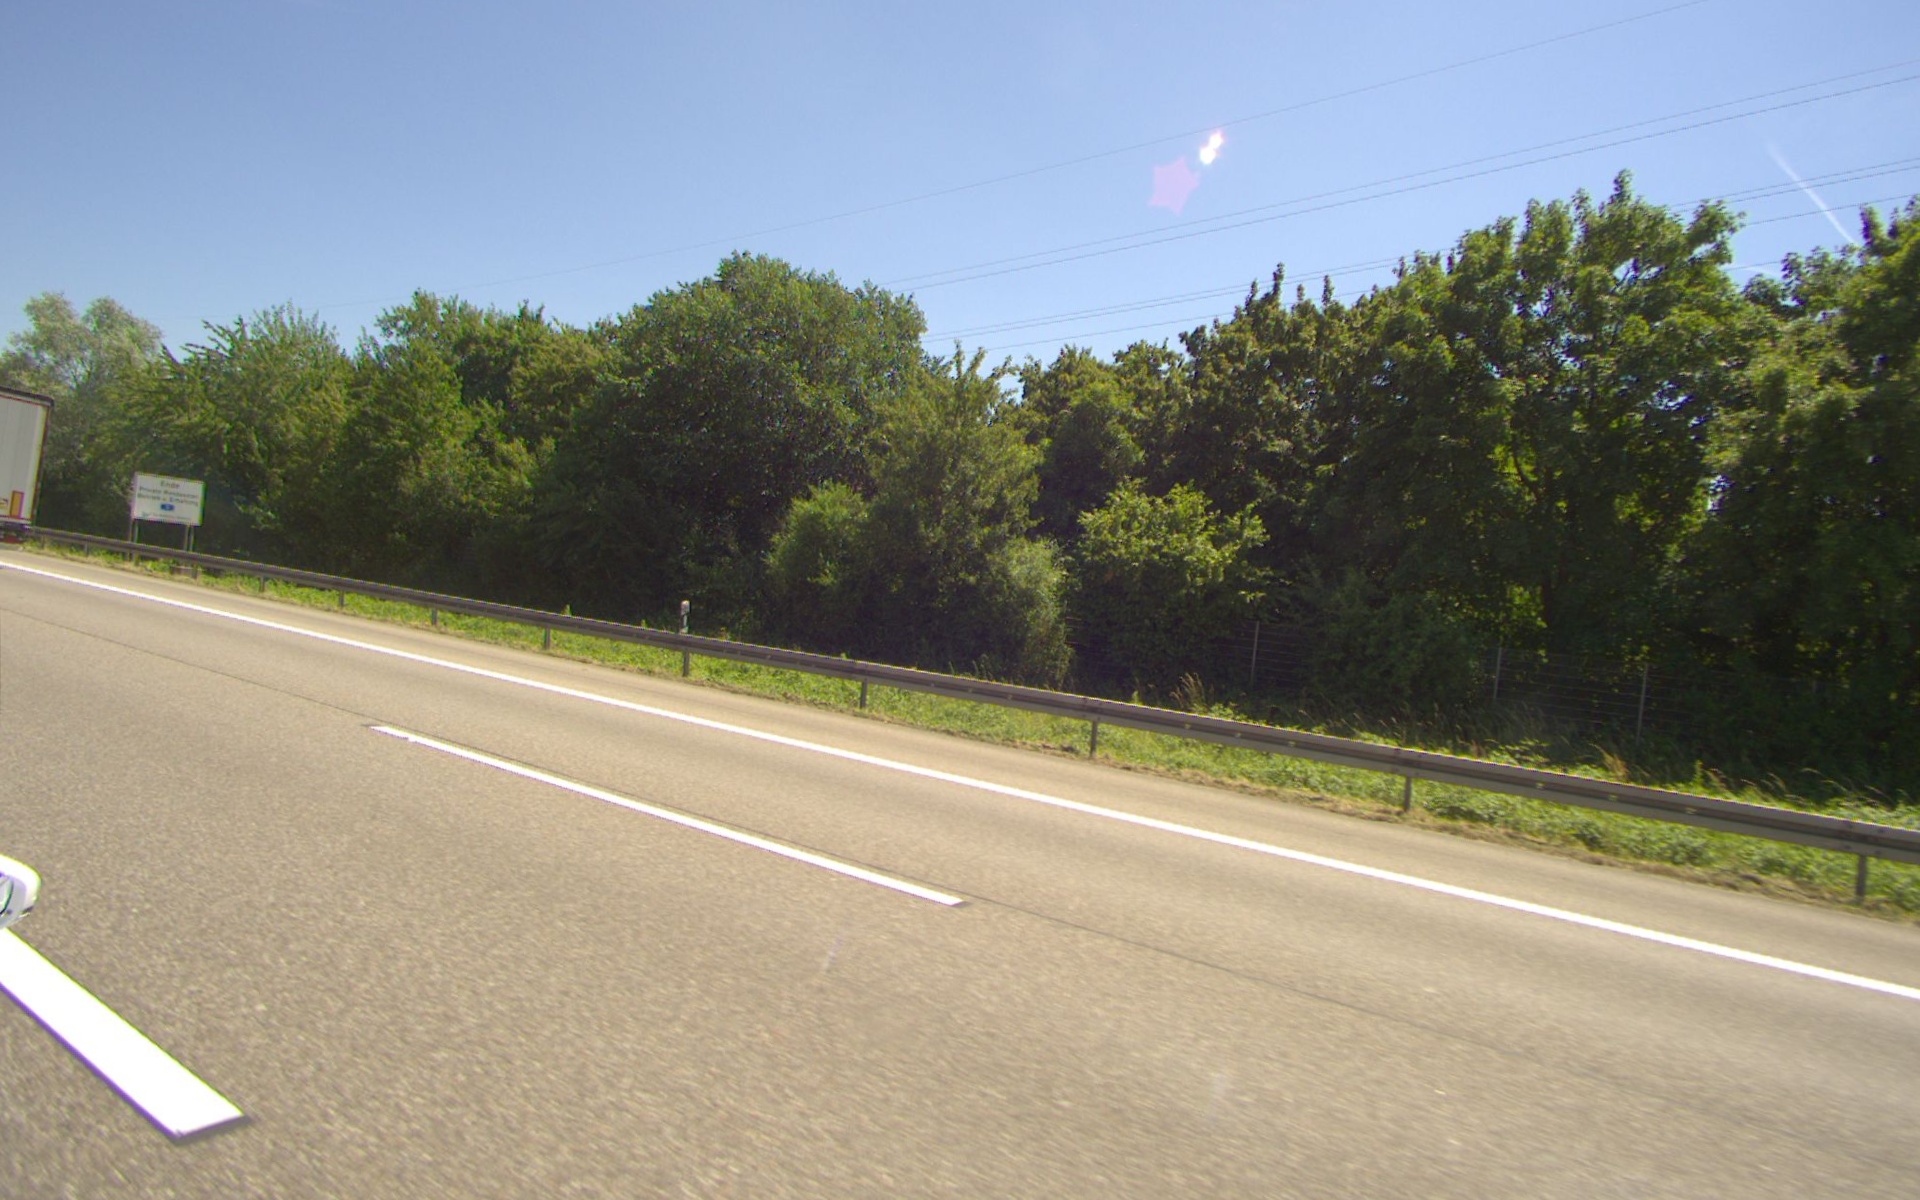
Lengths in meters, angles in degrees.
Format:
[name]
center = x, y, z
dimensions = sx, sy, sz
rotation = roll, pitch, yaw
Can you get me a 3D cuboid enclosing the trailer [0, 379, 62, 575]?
[trailer]
center = -27.144, -3.425, 25.295
dimensions = 13.348, 4.214, 2.793
rotation = 6, 0, 31
